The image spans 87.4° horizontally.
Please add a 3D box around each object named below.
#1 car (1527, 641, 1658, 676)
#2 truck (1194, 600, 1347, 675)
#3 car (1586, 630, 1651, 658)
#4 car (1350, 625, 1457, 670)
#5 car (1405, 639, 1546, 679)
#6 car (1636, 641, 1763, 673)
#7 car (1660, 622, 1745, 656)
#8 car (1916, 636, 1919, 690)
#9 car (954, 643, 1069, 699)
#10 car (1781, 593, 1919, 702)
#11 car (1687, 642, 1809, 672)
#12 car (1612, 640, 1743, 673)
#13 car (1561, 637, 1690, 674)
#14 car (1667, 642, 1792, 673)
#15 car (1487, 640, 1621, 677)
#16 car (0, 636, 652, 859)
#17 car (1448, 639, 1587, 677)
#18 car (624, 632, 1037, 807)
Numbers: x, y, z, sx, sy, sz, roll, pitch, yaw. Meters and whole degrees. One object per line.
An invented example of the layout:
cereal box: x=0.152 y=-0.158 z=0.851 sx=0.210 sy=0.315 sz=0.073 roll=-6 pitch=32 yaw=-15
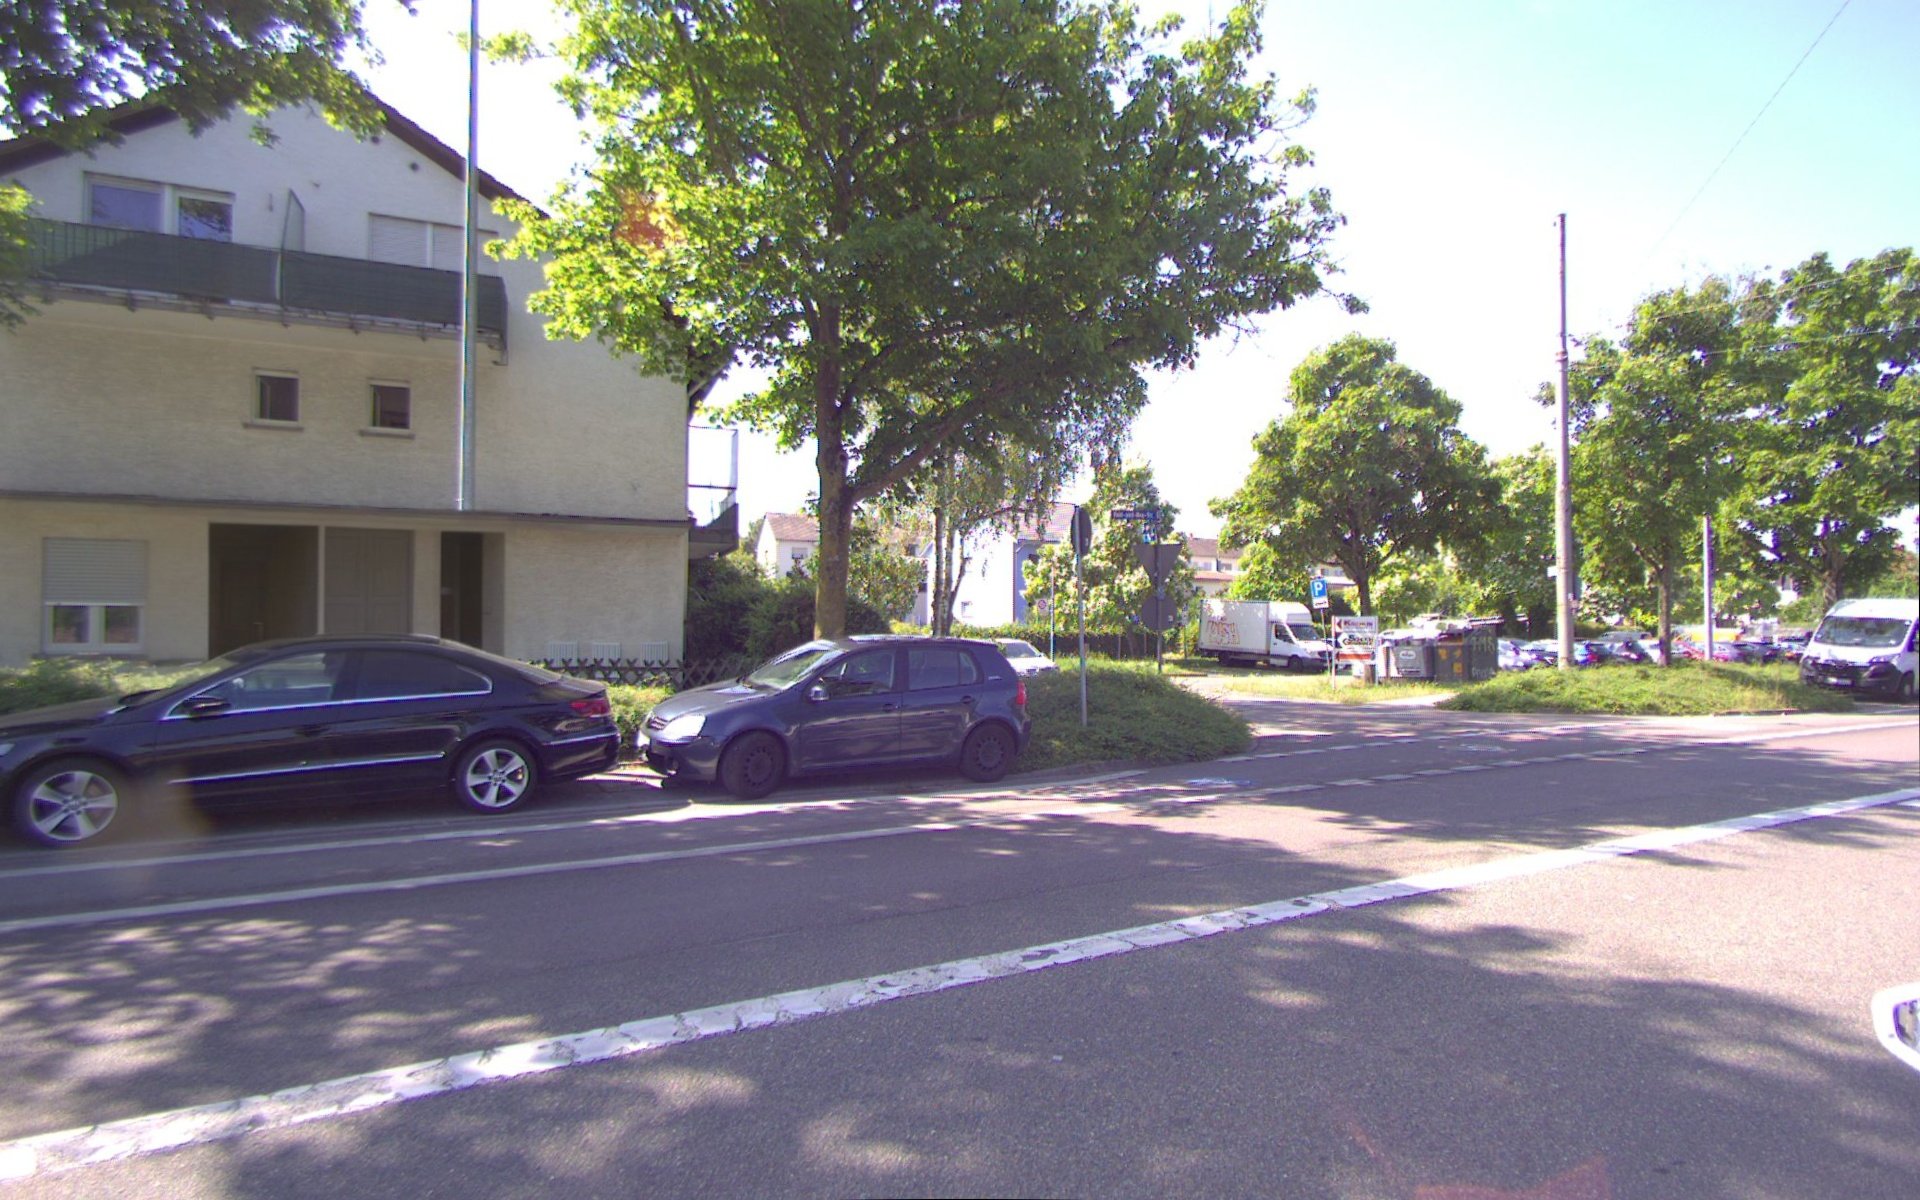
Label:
car: x=24.364 y=2.214 z=38.830 sx=1.748 sy=1.241 sz=3.973 roll=1 pitch=-2 yaw=-27
truck: x=14.269 y=1.627 z=46.770 sx=2.206 sy=3.059 sz=7.103 roll=1 pitch=1 yaw=-31
car: x=44.878 y=2.986 z=68.539 sx=1.535 sy=1.901 sz=3.406 roll=1 pitch=-2 yaw=-31
car: x=22.872 y=2.436 z=51.955 sx=1.980 sy=2.040 sz=4.663 roll=2 pitch=0 yaw=-34
car: x=17.385 y=1.946 z=34.053 sx=1.751 sy=1.241 sz=3.967 roll=1 pitch=-2 yaw=-31
car: x=31.093 y=2.359 z=42.365 sx=1.748 sy=1.241 sz=3.973 roll=1 pitch=-2 yaw=-27
car: x=50.618 y=2.644 z=68.553 sx=1.981 sy=2.040 sz=4.228 roll=2 pitch=0 yaw=-35
car: x=29.338 y=1.793 z=28.726 sx=4.148 sy=1.536 sz=1.835 roll=1 pitch=-2 yaw=-30
car: x=1.372 y=1.946 z=28.432 sx=1.687 sy=1.437 sz=3.979 roll=1 pitch=-2 yaw=-23
car: x=23.944 y=1.158 z=25.856 sx=6.227 sy=2.534 sz=2.050 roll=1 pitch=1 yaw=-28
car: x=35.202 y=2.520 z=44.972 sx=1.748 sy=1.241 sz=3.973 roll=1 pitch=-2 yaw=-27
car: x=29.041 y=2.257 z=40.779 sx=1.748 sy=1.281 sz=3.973 roll=1 pitch=-2 yaw=-27
car: x=26.600 y=2.193 z=40.262 sx=1.748 sy=1.368 sz=3.973 roll=1 pitch=-2 yaw=-27
car: x=33.324 y=2.451 z=43.627 sx=1.748 sy=1.241 sz=3.973 roll=1 pitch=-2 yaw=-27
car: x=21.760 y=2.103 z=36.955 sx=1.748 sy=1.241 sz=3.973 roll=1 pitch=-2 yaw=-27
car: x=-5.161 y=1.033 z=8.319 sx=4.727 sy=1.398 sz=1.682 roll=1 pitch=0 yaw=-31
car: x=19.503 y=1.998 z=35.287 sx=1.751 sy=1.241 sz=3.967 roll=1 pitch=-2 yaw=-31
car: x=-1.298 y=1.116 z=10.493 sx=3.956 sy=1.470 sz=1.634 roll=2 pitch=0 yaw=-29
